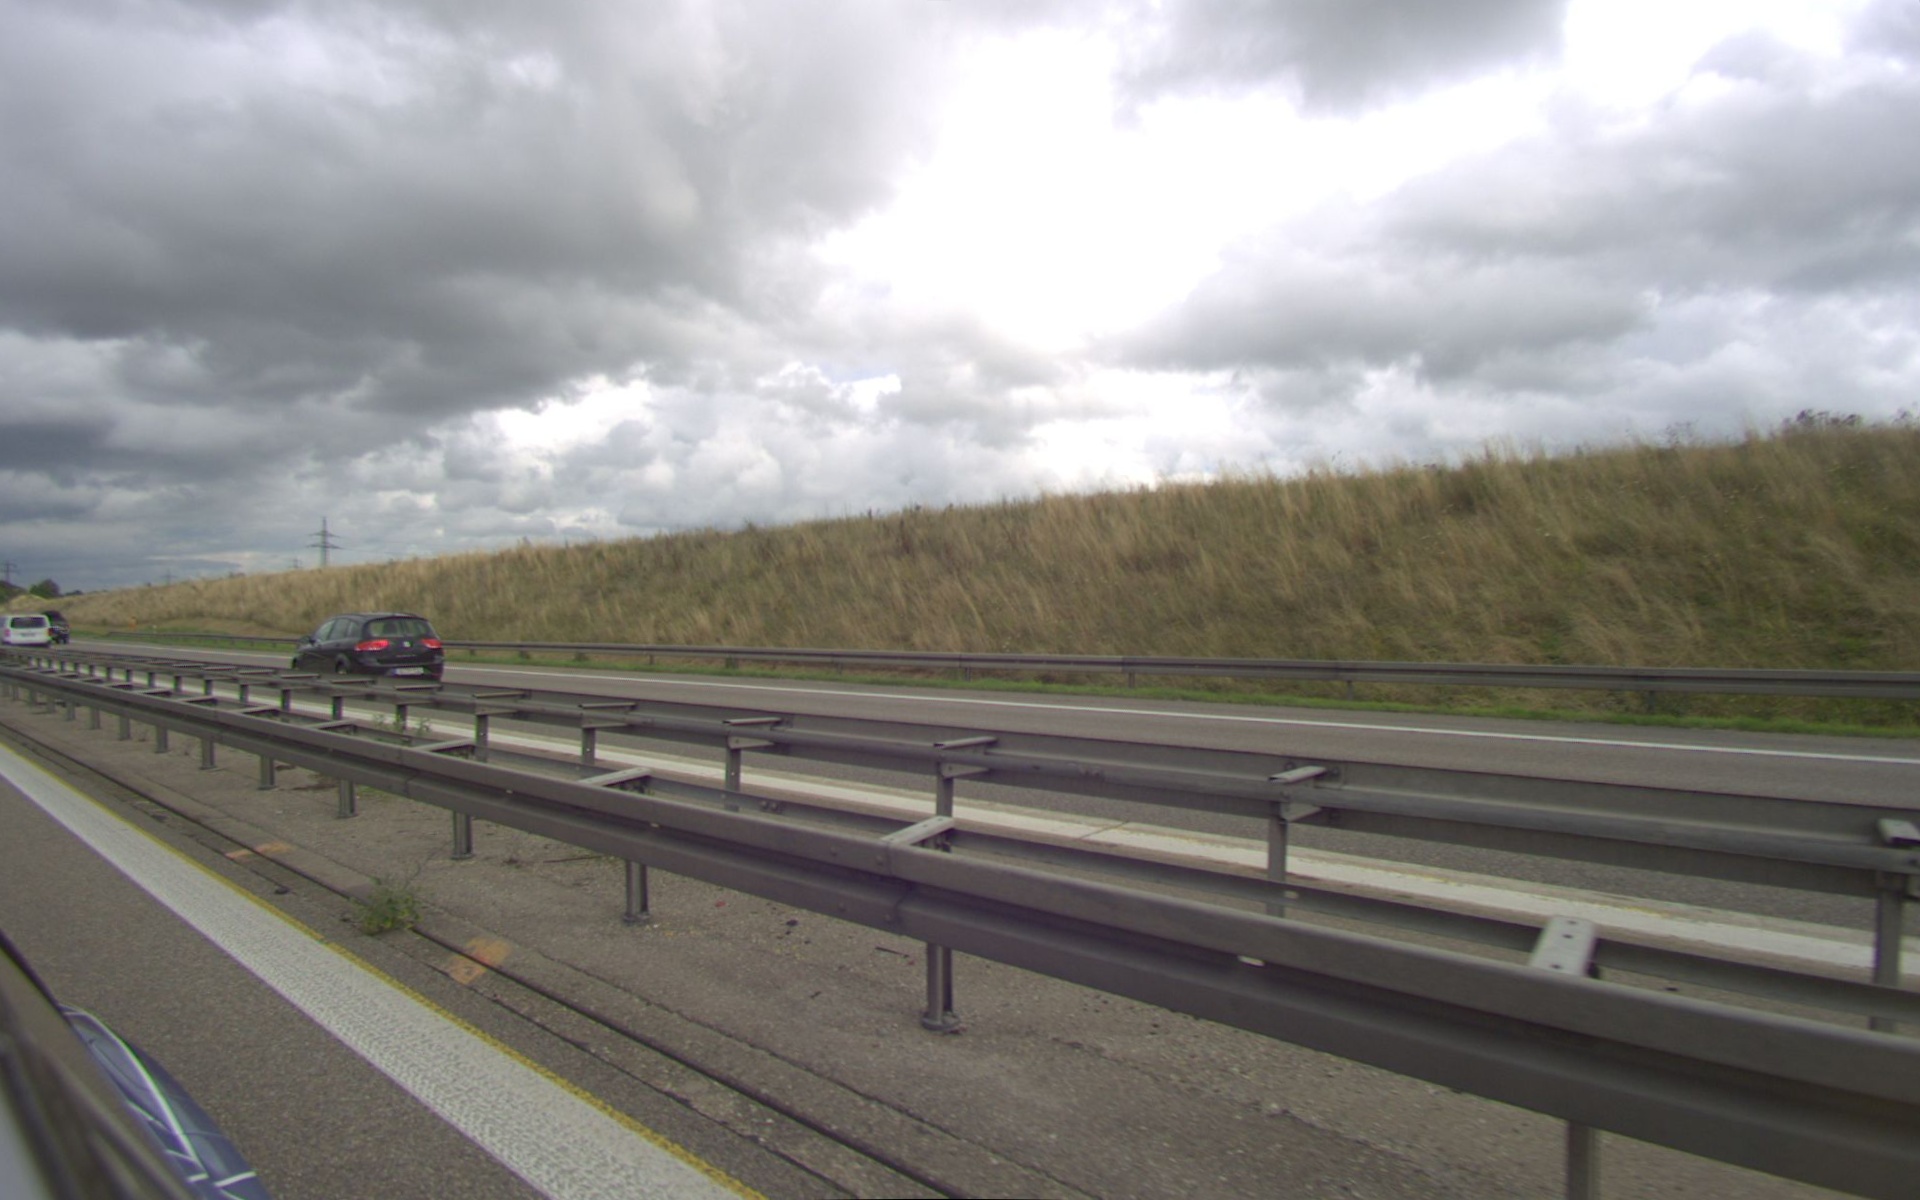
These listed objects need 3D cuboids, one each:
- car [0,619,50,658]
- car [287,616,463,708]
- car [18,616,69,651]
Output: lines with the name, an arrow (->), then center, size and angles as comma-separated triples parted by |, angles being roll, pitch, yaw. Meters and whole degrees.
car -> -48.766, 1.945, 52.454 | 5.417, 1.899, 1.809 | -1, -1, 42
car -> -11.543, 1.121, 19.873 | 3.998, 1.588, 1.822 | -1, -1, 41
car -> -62.487, 2.251, 68.967 | 5.716, 2.259, 1.972 | -1, -1, 42
